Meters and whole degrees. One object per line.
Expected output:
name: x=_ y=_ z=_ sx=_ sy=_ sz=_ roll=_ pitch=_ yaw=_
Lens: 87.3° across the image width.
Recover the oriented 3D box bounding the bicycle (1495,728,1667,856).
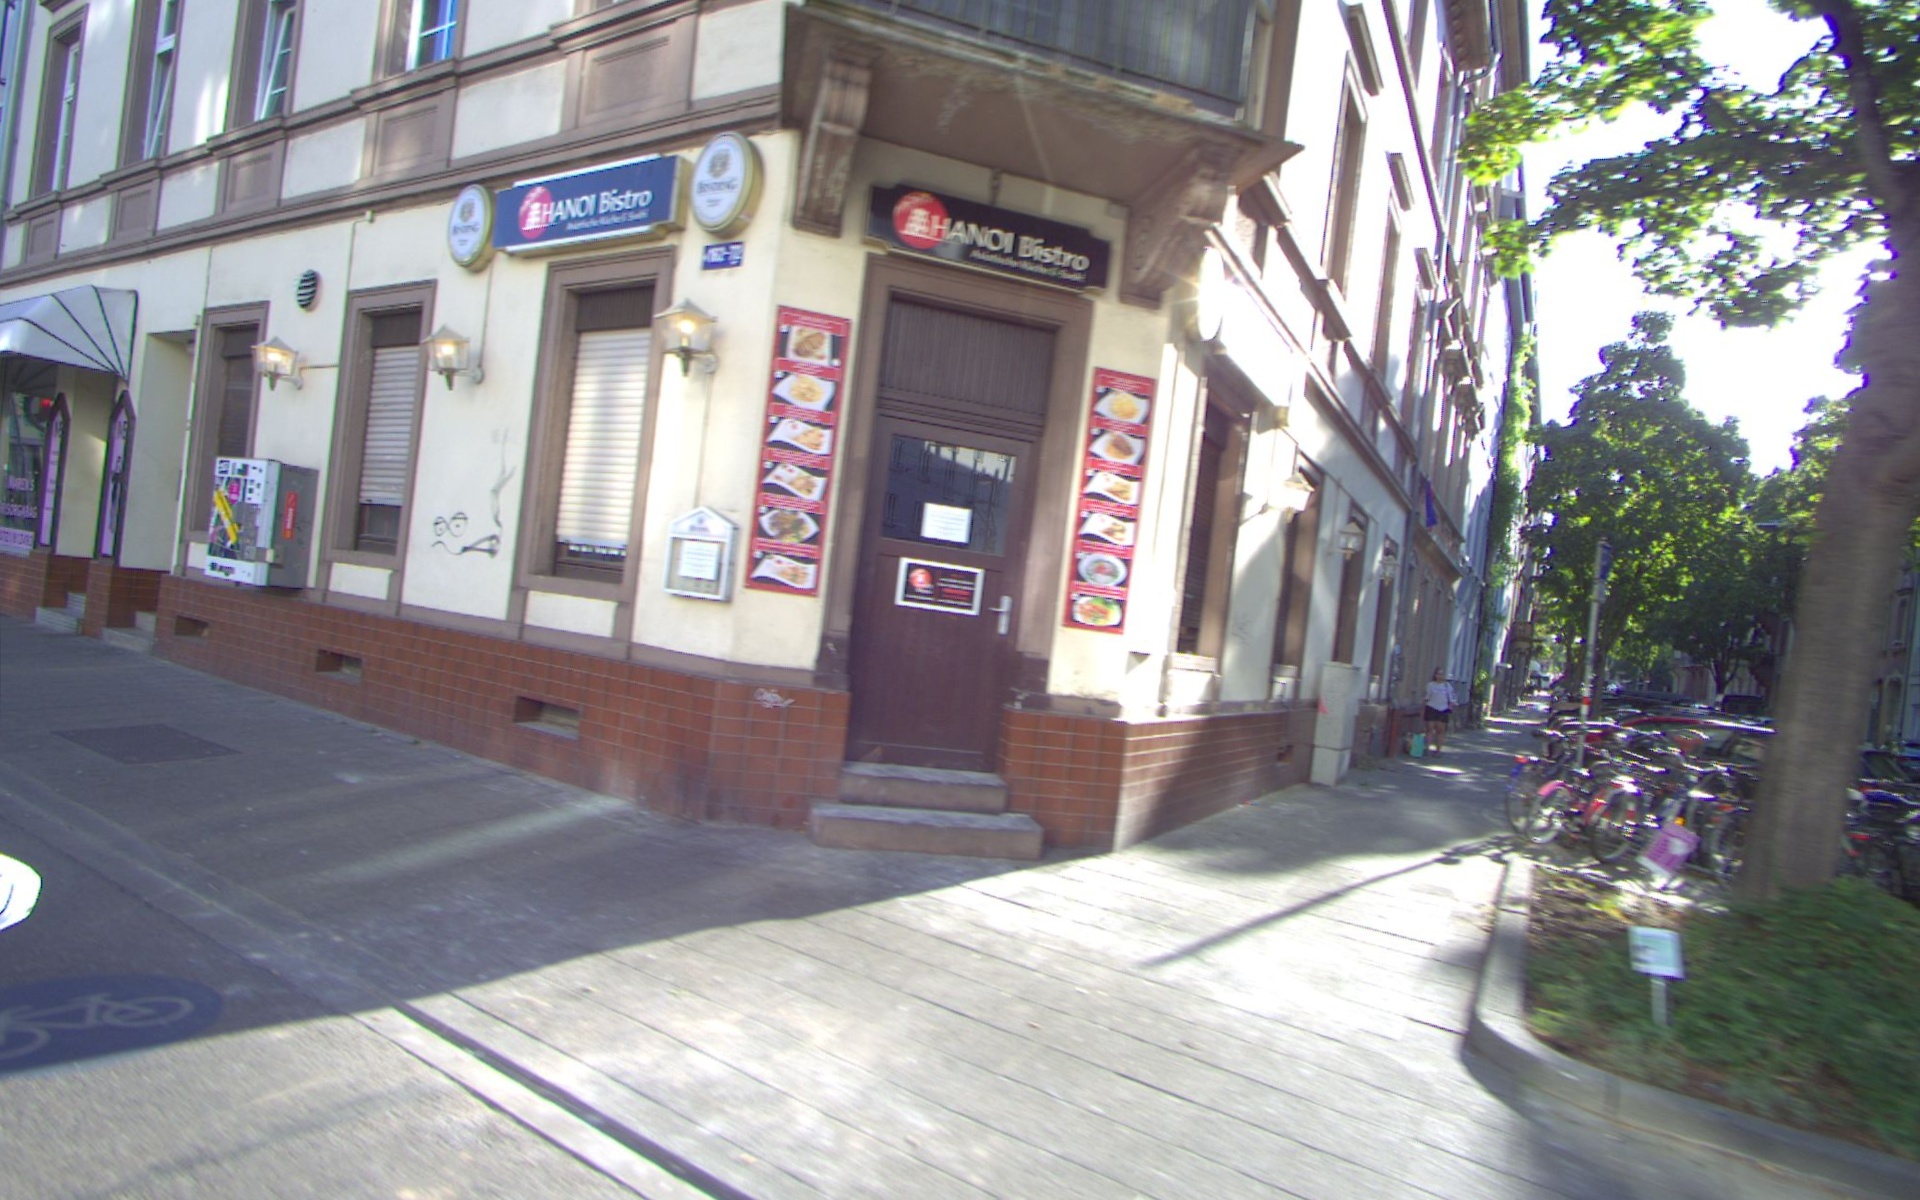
bicycle: x=5.821 y=1.804 z=9.416 sx=1.598 sy=1.027 sz=0.455 roll=8 pitch=1 yaw=-24

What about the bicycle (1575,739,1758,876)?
bicycle: x=6.147 y=1.812 z=8.737 sx=1.598 sy=1.027 sz=0.455 roll=8 pitch=1 yaw=-24

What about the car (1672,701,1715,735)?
car: x=49.954 y=8.008 z=68.552 sx=1.968 sy=2.037 sz=3.992 roll=5 pitch=-2 yaw=33

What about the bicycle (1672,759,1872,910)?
bicycle: x=6.362 y=1.845 z=7.868 sx=1.598 sy=1.027 sz=0.455 roll=8 pitch=1 yaw=-24

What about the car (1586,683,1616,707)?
car: x=56.949 y=8.474 z=89.402 sx=2.135 sy=1.819 sz=3.992 roll=5 pitch=-2 yaw=33

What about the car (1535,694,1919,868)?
car: x=10.539 y=2.387 z=13.900 sx=1.710 sy=1.481 sz=4.050 roll=9 pitch=-1 yaw=-32

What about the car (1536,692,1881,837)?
car: x=11.961 y=2.580 z=16.365 sx=1.710 sy=1.481 sz=4.050 roll=9 pitch=-1 yaw=-32

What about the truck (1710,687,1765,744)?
truck: x=44.535 y=6.604 z=57.688 sx=1.849 sy=2.906 sz=4.279 roll=5 pitch=-2 yaw=33

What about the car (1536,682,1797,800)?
car: x=14.860 y=2.924 z=21.395 sx=1.710 sy=1.682 sz=4.050 roll=9 pitch=-1 yaw=-32

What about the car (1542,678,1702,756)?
car: x=22.322 y=3.919 z=34.071 sx=1.783 sy=1.869 sz=3.966 roll=9 pitch=-1 yaw=-32

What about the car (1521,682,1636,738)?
car: x=28.503 y=5.042 z=46.483 sx=1.783 sy=1.869 sz=3.966 roll=9 pitch=-1 yaw=-32

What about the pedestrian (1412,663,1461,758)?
pedestrian: x=8.974 y=2.070 z=18.934 sx=0.639 sy=1.681 sz=0.649 roll=7 pitch=0 yaw=28

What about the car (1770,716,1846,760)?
car: x=35.981 y=5.808 z=42.781 sx=1.849 sy=1.481 sz=3.992 roll=5 pitch=-2 yaw=33

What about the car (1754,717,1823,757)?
car: x=38.299 y=6.302 z=46.594 sx=1.849 sy=1.481 sz=3.992 roll=5 pitch=-2 yaw=33

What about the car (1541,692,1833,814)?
car: x=13.690 y=2.835 z=19.196 sx=1.710 sy=1.481 sz=4.050 roll=9 pitch=-1 yaw=-32

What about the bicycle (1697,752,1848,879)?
bicycle: x=7.519 y=1.996 z=9.301 sx=1.308 sy=1.027 sz=0.455 roll=8 pitch=1 yaw=-25

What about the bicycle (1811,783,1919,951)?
bicycle: x=6.716 y=1.886 z=7.209 sx=1.311 sy=1.027 sz=0.454 roll=8 pitch=1 yaw=-31

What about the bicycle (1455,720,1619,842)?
bicycle: x=5.703 y=1.791 z=9.924 sx=1.598 sy=1.027 sz=0.455 roll=8 pitch=1 yaw=-24

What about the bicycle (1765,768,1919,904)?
bicycle: x=7.669 y=2.045 z=8.709 sx=1.308 sy=1.027 sz=0.455 roll=8 pitch=1 yaw=-25

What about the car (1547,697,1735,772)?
car: x=19.332 y=3.783 z=28.725 sx=1.783 sy=1.353 sz=3.966 roll=9 pitch=-1 yaw=-32

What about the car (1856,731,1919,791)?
car: x=28.146 y=4.790 z=29.661 sx=1.849 sy=1.481 sz=3.992 roll=5 pitch=-2 yaw=33

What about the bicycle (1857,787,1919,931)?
bicycle: x=7.947 y=2.107 z=8.135 sx=1.308 sy=1.027 sz=0.455 roll=8 pitch=1 yaw=-25

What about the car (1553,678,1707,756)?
car: x=23.873 y=4.137 z=35.975 sx=1.710 sy=2.050 sz=4.050 roll=9 pitch=-1 yaw=-32
